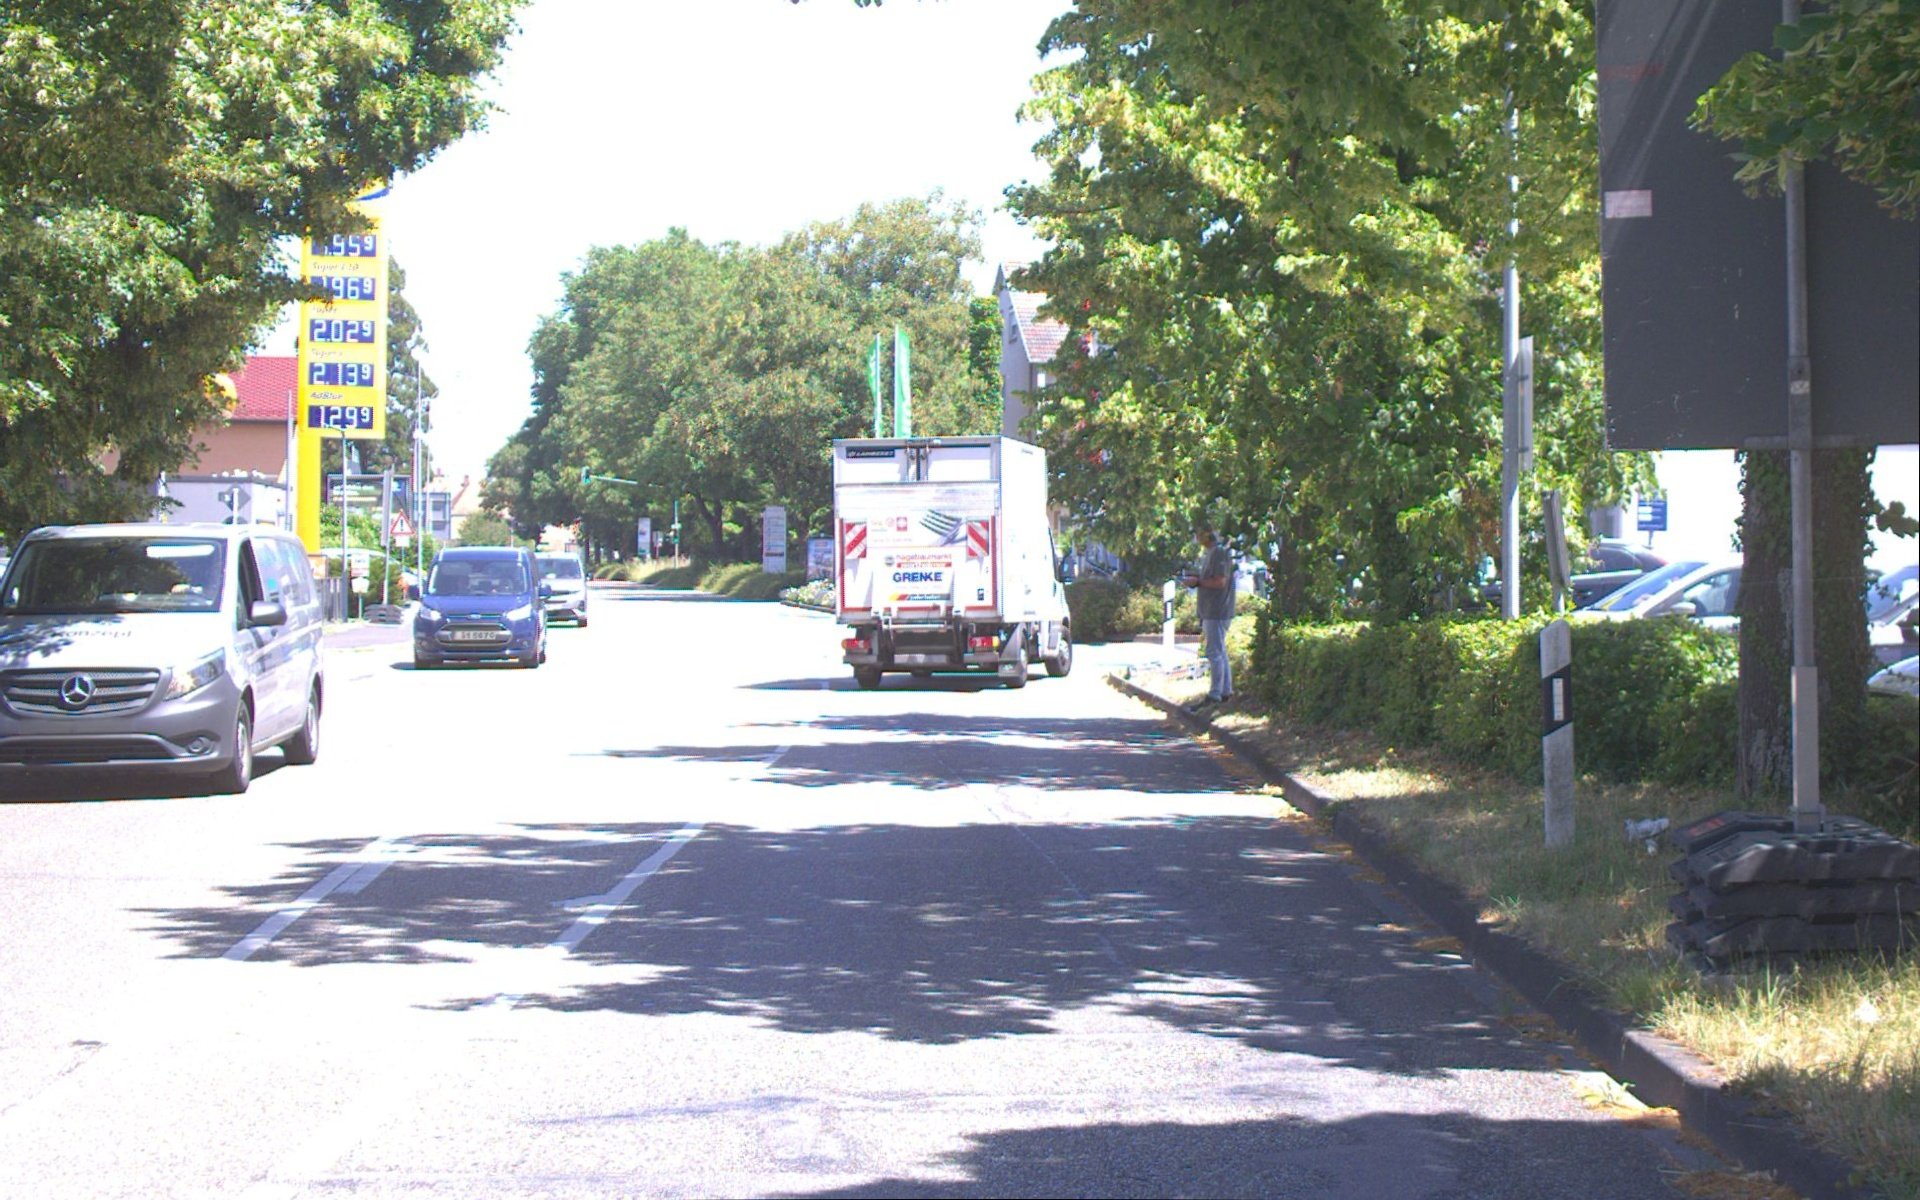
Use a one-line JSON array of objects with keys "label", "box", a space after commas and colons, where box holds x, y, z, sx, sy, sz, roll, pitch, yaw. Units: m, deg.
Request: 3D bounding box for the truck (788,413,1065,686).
[{"label": "truck", "box": [-0.315, -0.649, 42.195, 2.534, 3.124, 5.359, 0, 2, 9]}]

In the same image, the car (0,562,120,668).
[{"label": "car", "box": [-12.949, 0.190, 45.717, 3.428, 1.357, 1.333, 0, 1, 28]}]

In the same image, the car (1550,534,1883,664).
[{"label": "car", "box": [9.034, -0.026, 41.221, 3.565, 1.503, 1.762, 0, 1, -2]}]

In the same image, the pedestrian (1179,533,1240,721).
[{"label": "pedestrian", "box": [2.359, 0.249, 32.577, 0.548, 1.770, 0.577, 0, 1, 3]}]

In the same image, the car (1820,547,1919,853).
[{"label": "car", "box": [6.975, 0.472, 18.121, 4.391, 1.533, 1.831, 0, 1, -2]}]

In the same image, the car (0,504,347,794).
[{"label": "car", "box": [-5.765, 0.282, 24.674, 1.993, 1.850, 5.316, 0, 1, -3]}]

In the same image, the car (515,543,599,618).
[{"label": "car", "box": [-9.670, -0.489, 82.728, 1.728, 1.754, 3.962, 0, 1, -3]}]

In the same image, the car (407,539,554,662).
[{"label": "car", "box": [-7.085, -0.024, 51.171, 1.744, 1.740, 4.579, 0, 1, -3]}]

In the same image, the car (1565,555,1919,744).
[{"label": "car", "box": [7.188, 0.387, 28.688, 3.945, 1.505, 1.707, 0, 1, -2]}]

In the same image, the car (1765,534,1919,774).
[{"label": "car", "box": [7.802, 0.328, 23.546, 4.106, 1.571, 1.867, 0, 1, -2]}]
